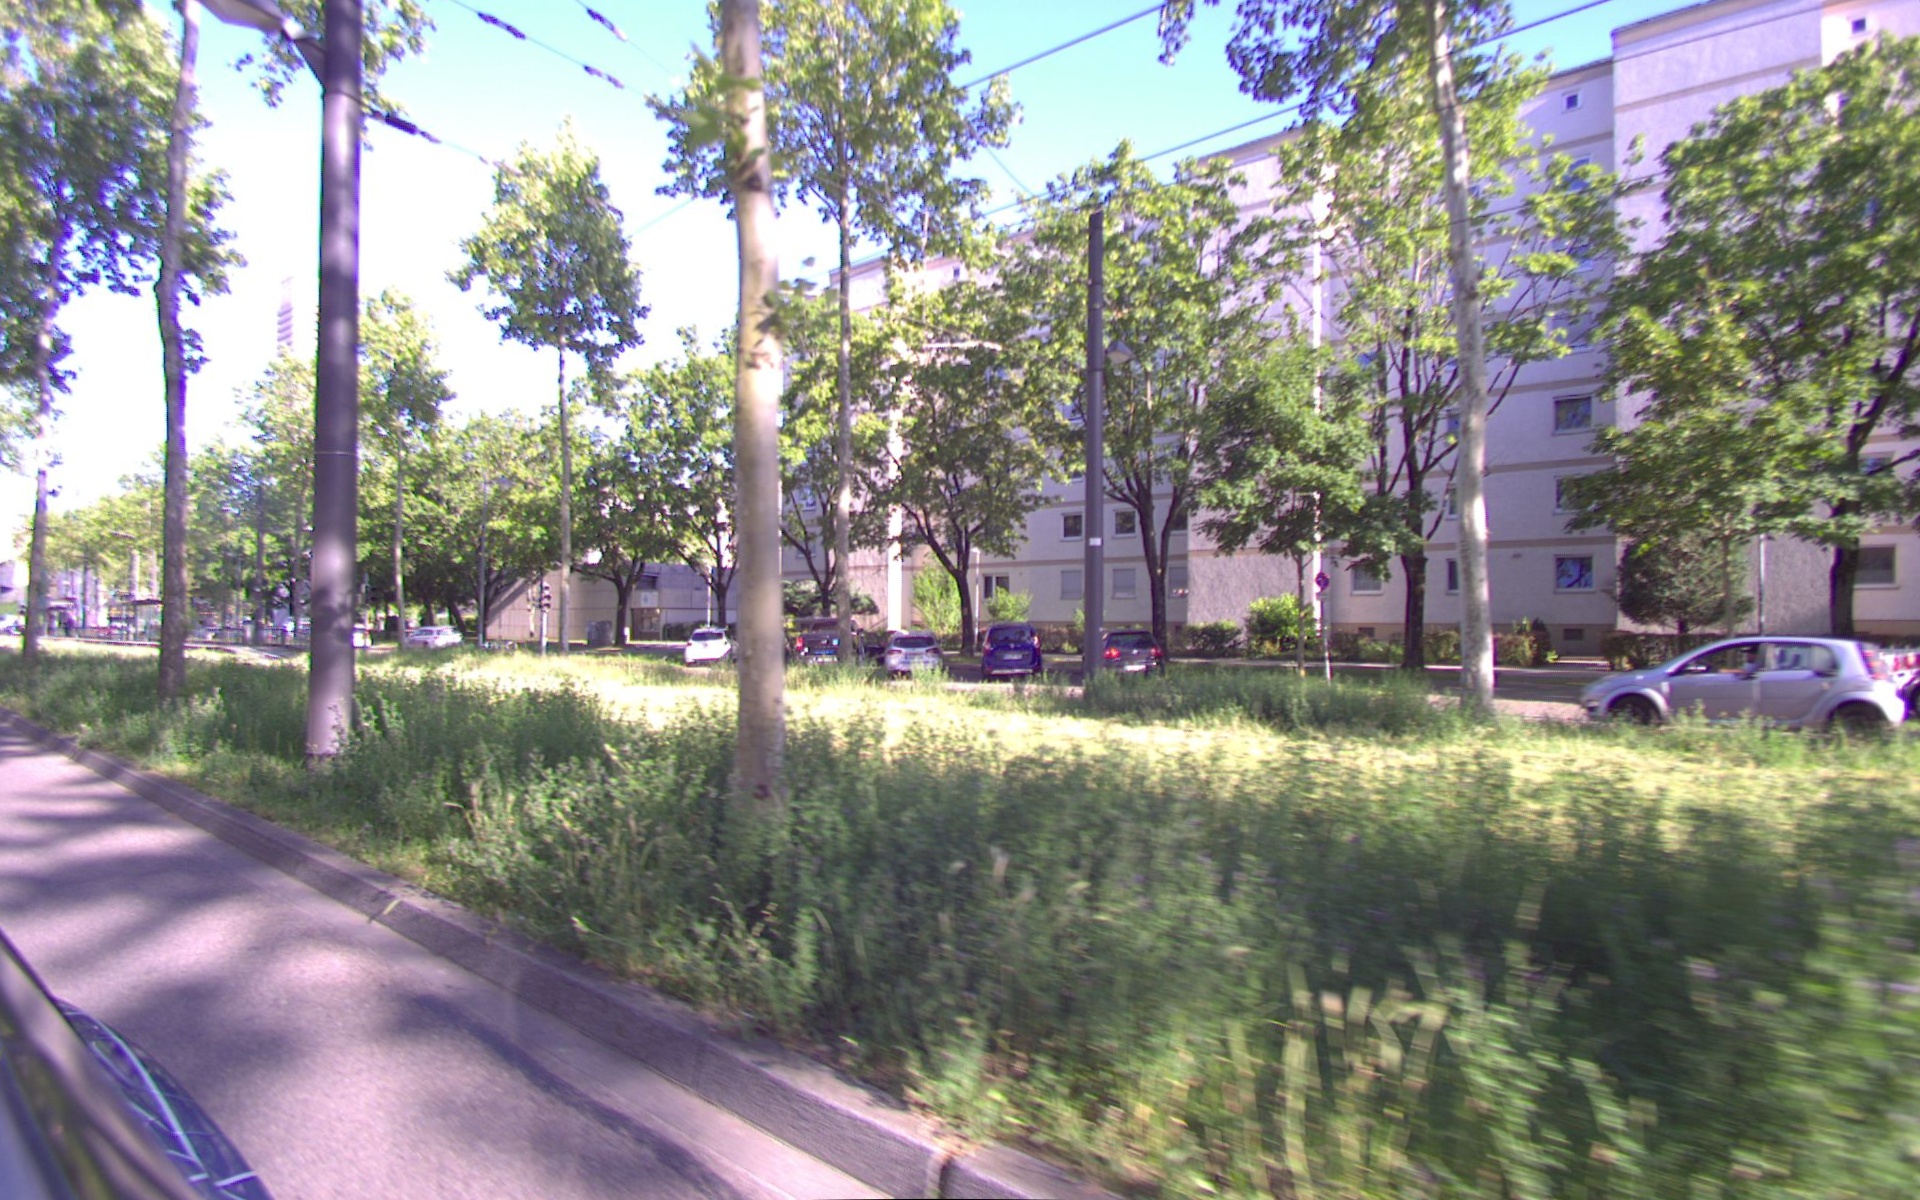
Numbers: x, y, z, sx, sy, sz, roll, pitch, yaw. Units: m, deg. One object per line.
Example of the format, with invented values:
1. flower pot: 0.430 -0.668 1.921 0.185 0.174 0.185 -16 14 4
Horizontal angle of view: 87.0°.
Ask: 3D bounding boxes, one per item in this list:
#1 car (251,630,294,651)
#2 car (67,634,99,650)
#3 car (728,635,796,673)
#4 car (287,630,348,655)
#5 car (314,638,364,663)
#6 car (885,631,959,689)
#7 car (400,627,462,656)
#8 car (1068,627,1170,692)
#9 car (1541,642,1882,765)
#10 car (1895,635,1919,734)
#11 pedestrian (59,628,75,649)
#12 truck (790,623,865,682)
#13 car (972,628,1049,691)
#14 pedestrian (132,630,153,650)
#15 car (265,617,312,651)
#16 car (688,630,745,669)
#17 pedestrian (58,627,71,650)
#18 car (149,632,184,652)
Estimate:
1. car: -50.624 2.967 74.497 4.017 1.500 1.577 -2 -3 41
2. car: -78.978 3.748 91.098 3.533 1.438 1.589 -2 -3 39
3. car: -7.201 2.018 37.226 1.814 1.256 3.825 0 -5 -1
4. car: -36.647 2.406 57.688 4.168 1.400 1.971 -2 -3 43
5. car: -39.082 3.151 63.651 3.934 1.557 1.694 -2 -3 44
6. car: -1.116 1.825 31.388 1.632 1.658 4.075 -1 -2 7
7. car: -29.178 2.281 55.790 4.200 1.557 1.695 -2 -3 43
8. car: 4.183 1.557 27.304 1.626 1.487 4.090 -4 -2 -6
9. car: 10.870 1.405 14.845 3.847 1.497 1.629 -1 -3 41
10. car: 16.922 1.365 15.336 1.628 1.658 4.085 0 -2 -1
11. pedestrian: -72.598 3.116 82.269 0.754 1.702 0.873 -2 -2 42
12. truck: -4.390 1.710 34.022 1.631 1.788 4.078 0 -1 5
13. car: 1.403 1.700 29.609 1.626 1.658 4.089 -2 -2 -5
14. pedestrian: -52.490 2.562 65.017 0.825 1.270 0.802 0 -1 -20
15. car: -47.092 2.380 70.979 3.931 2.279 1.696 -2 -3 41
16. car: -9.450 1.921 39.520 1.811 1.446 3.832 0 -2 -8
17. pedestrian: -73.171 3.131 82.703 0.636 1.881 0.712 -2 -2 42
18. car: -65.816 3.468 83.906 3.934 1.557 1.695 -2 -3 43
